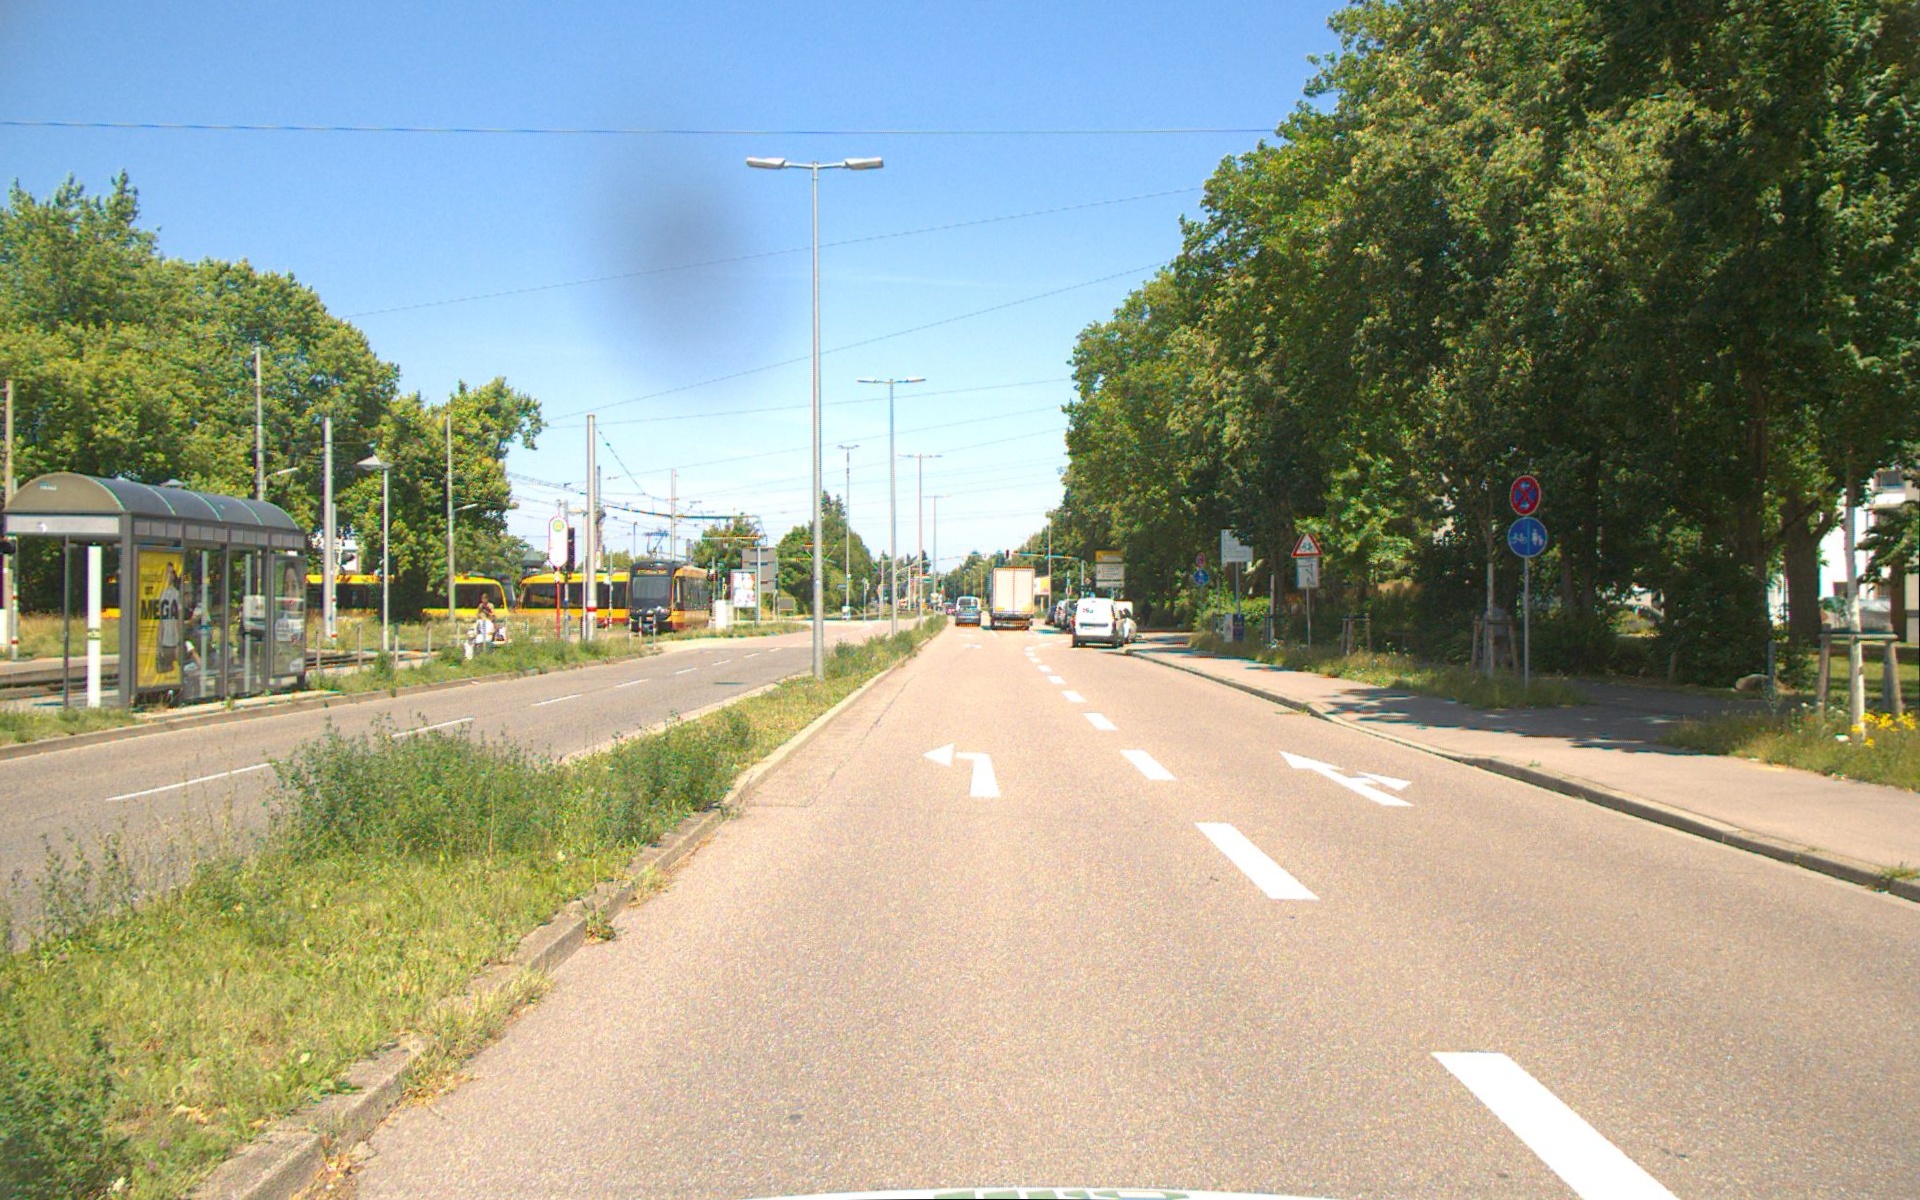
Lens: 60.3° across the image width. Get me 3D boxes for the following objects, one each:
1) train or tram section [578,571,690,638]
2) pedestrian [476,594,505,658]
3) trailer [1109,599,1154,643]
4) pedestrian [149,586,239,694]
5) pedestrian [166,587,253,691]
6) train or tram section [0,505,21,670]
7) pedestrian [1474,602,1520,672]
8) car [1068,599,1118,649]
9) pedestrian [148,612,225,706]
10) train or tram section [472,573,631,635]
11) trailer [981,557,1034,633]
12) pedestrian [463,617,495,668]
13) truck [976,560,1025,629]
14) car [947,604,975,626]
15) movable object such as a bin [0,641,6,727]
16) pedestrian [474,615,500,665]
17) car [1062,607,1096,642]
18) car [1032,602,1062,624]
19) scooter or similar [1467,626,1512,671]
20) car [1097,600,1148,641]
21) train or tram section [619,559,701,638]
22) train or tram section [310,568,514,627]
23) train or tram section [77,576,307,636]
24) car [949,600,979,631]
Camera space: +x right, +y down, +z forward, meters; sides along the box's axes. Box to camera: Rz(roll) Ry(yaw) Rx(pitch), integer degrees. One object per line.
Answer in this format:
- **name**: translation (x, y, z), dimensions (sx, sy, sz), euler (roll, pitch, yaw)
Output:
- **train or tram section**: translation (-18.481, 0.190, 93.070), dimensions (3.005, 3.526, 10.119), euler (1, 0, -30)
- **pedestrian**: translation (-11.786, 0.641, 41.529), dimensions (0.524, 1.593, 0.582), euler (1, 0, -1)
- **trailer**: translation (7.031, 0.844, 67.918), dimensions (1.439, 1.698, 2.855), euler (1, 0, -1)
- **pedestrian**: translation (-11.491, 0.587, 24.848), dimensions (0.856, 1.573, 1.025), euler (1, 0, -2)
- **pedestrian**: translation (-11.807, 0.602, 26.046), dimensions (0.912, 1.573, 0.985), euler (1, 0, -2)
- **train or tram section**: translation (-23.317, -0.295, 37.319), dimensions (3.008, 3.688, 12.343), euler (1, 0, -27)
- **pedestrian**: translation (11.122, 0.755, 34.276), dimensions (0.693, 1.422, 0.763), euler (1, 0, 1)
- **car**: translation (4.946, 0.864, 61.929), dimensions (1.674, 1.778, 4.428), euler (1, 0, 2)
- **pedestrian**: translation (-11.124, 0.833, 23.804), dimensions (0.687, 1.306, 0.840), euler (1, 0, -2)
- **train or tram section**: translation (-25.238, 0.205, 101.603), dimensions (12.527, 3.526, 3.027), euler (1, 0, 43)
- **trailer**: translation (2.896, -0.298, 103.462), dimensions (2.770, 4.499, 8.747), euler (1, 0, -1)
- **pedestrian**: translation (-11.653, 1.016, 40.097), dimensions (0.568, 1.210, 0.536), euler (1, 0, 1)
- **truck**: translation (2.677, -0.382, 112.044), dimensions (2.770, 4.420, 8.281), euler (2, 1, -2)
- **car**: translation (0.078, 1.054, 114.594), dimensions (1.854, 1.396, 4.429), euler (3, -2, 0)
- **movable object such as a bin**: translation (-11.312, 0.973, 18.889), dimensions (0.472, 0.995, 0.644), euler (0, 0, -4)
- **pedestrian**: translation (-11.599, 0.982, 40.587), dimensions (0.484, 1.210, 0.401), euler (1, 0, 1)
- **car**: translation (7.674, 1.558, 107.081), dimensions (1.852, 2.158, 3.886), euler (1, 0, -1)
- **car**: translation (6.106, 0.905, 116.474), dimensions (1.953, 1.462, 4.251), euler (0, 1, 0)
- **scooter or similar**: translation (11.127, 1.012, 34.789), dimensions (0.693, 0.909, 0.763), euler (1, 0, 1)
- **car**: translation (6.977, 0.866, 71.548), dimensions (1.665, 1.683, 4.397), euler (1, 0, -1)
- **train or tram section**: translation (-14.656, -0.087, 81.718), dimensions (2.978, 3.526, 13.274), euler (1, 0, -6)
- **train or tram section**: translation (-35.718, -0.176, 108.040), dimensions (12.439, 3.526, 3.048), euler (1, 0, 7)
- **train or tram section**: translation (-48.802, 0.404, 105.689), dimensions (13.032, 3.526, 3.027), euler (1, 0, -21)
- **car**: translation (0.254, 1.096, 121.464), dimensions (1.954, 2.148, 4.745), euler (0, 1, -3)
